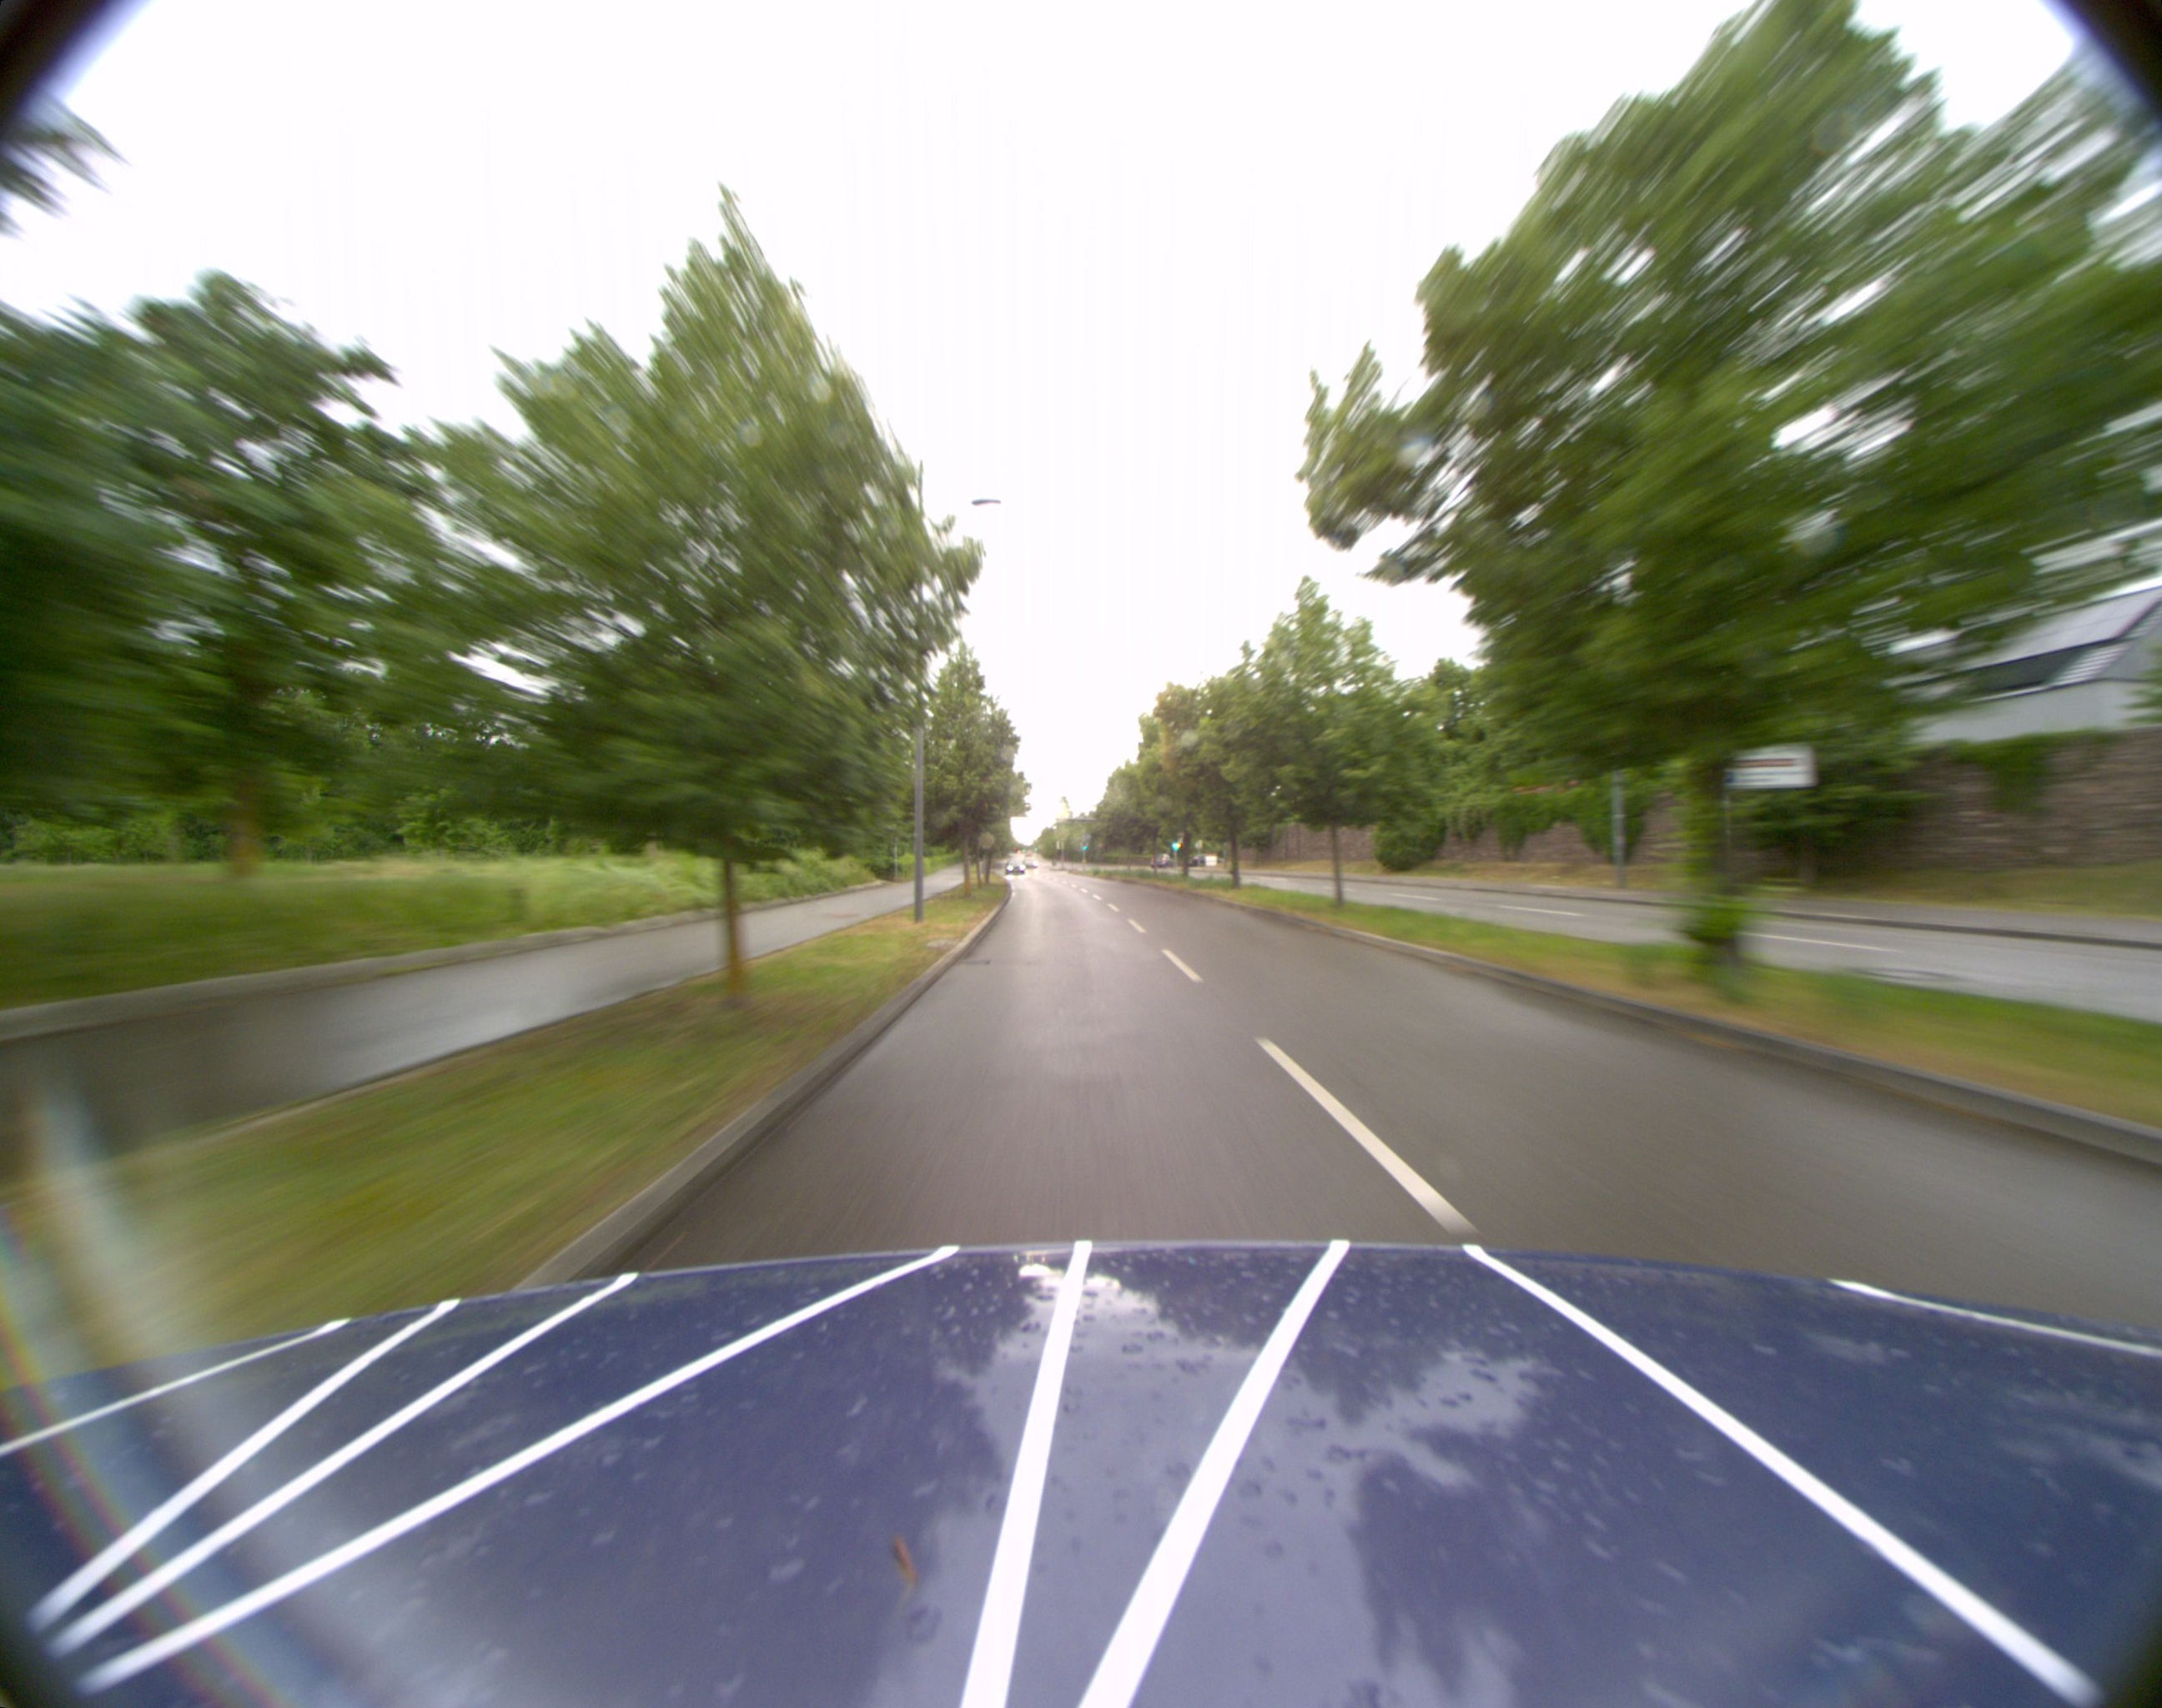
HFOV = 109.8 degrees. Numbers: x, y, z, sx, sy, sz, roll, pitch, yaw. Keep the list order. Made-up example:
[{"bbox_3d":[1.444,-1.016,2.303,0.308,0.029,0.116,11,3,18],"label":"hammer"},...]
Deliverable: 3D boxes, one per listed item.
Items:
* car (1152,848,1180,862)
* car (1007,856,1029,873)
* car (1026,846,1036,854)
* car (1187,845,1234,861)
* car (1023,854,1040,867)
[{"bbox_3d":[9.170,0.113,82.062,1.687,1.530,2.922,-2,0,38],"label":"car"},{"bbox_3d":[-6.098,0.979,73.362,1.825,1.547,3.996,-1,1,-9],"label":"car"},{"bbox_3d":[-12.858,-0.995,195.210,2.020,1.908,5.091,-1,1,-7],"label":"car"},{"bbox_3d":[14.580,-0.134,85.652,4.767,1.586,1.885,-2,1,-11],"label":"car"},{"bbox_3d":[-6.461,0.823,98.954,1.825,1.547,3.996,-1,1,-8],"label":"car"}]
